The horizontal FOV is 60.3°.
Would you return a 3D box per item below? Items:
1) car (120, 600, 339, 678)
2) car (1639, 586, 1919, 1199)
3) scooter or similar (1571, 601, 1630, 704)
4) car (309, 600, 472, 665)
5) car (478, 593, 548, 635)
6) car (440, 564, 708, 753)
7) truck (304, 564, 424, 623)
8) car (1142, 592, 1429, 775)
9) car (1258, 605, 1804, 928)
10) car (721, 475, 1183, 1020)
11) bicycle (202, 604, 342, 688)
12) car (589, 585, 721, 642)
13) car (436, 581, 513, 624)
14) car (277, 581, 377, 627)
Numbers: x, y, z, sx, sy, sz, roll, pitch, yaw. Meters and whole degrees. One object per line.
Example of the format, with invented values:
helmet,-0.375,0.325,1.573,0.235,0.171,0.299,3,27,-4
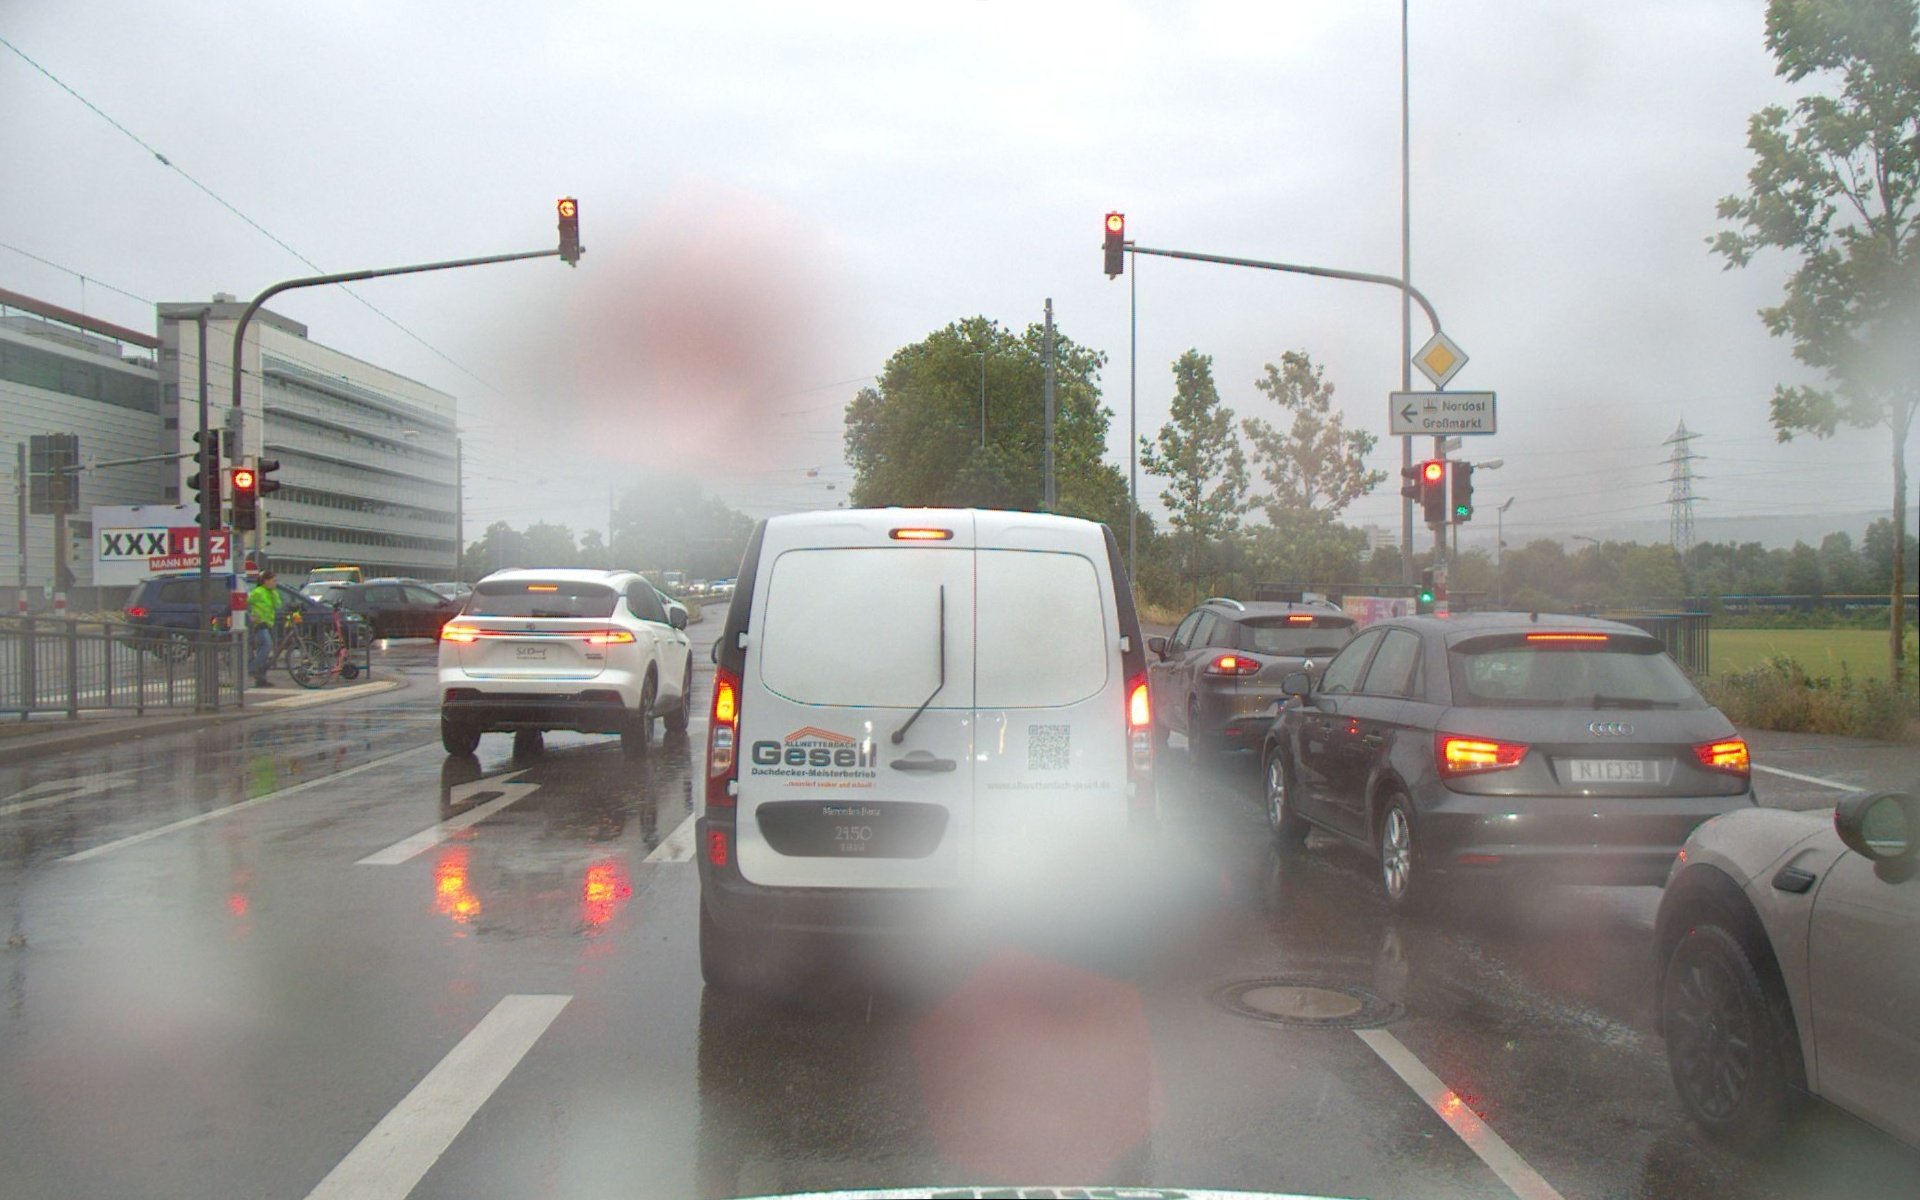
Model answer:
car,-14.226,0.752,32.248,3.810,1.447,1.496,1,0,-28
car,2.943,0.753,3.183,1.679,1.534,3.622,1,0,-2
scooter or similar,7.585,0.605,19.620,0.240,1.178,1.186,1,0,1
car,-13.366,0.765,38.909,3.332,1.447,1.444,1,-1,-45
car,-20.802,0.641,77.100,1.889,1.859,4.002,1,0,4
car,-3.573,0.471,16.063,1.694,1.562,4.296,1,1,-2
truck,-25.121,-0.241,70.130,2.303,2.319,7.632,1,0,0
car,2.905,0.683,15.563,1.822,1.453,3.806,1,1,-2
car,2.800,0.727,8.953,1.596,1.368,3.622,1,0,-2
car,-0.051,0.500,7.549,1.534,1.819,3.999,0,0,-1
bicycle,-9.676,0.644,23.296,1.716,1.052,0.414,4,-1,-3
car,-8.527,0.389,46.499,1.585,1.530,3.706,1,0,32
car,-20.591,0.114,70.285,1.853,1.729,4.001,1,0,3
car,-21.667,0.148,56.789,1.662,1.518,3.878,1,0,5
